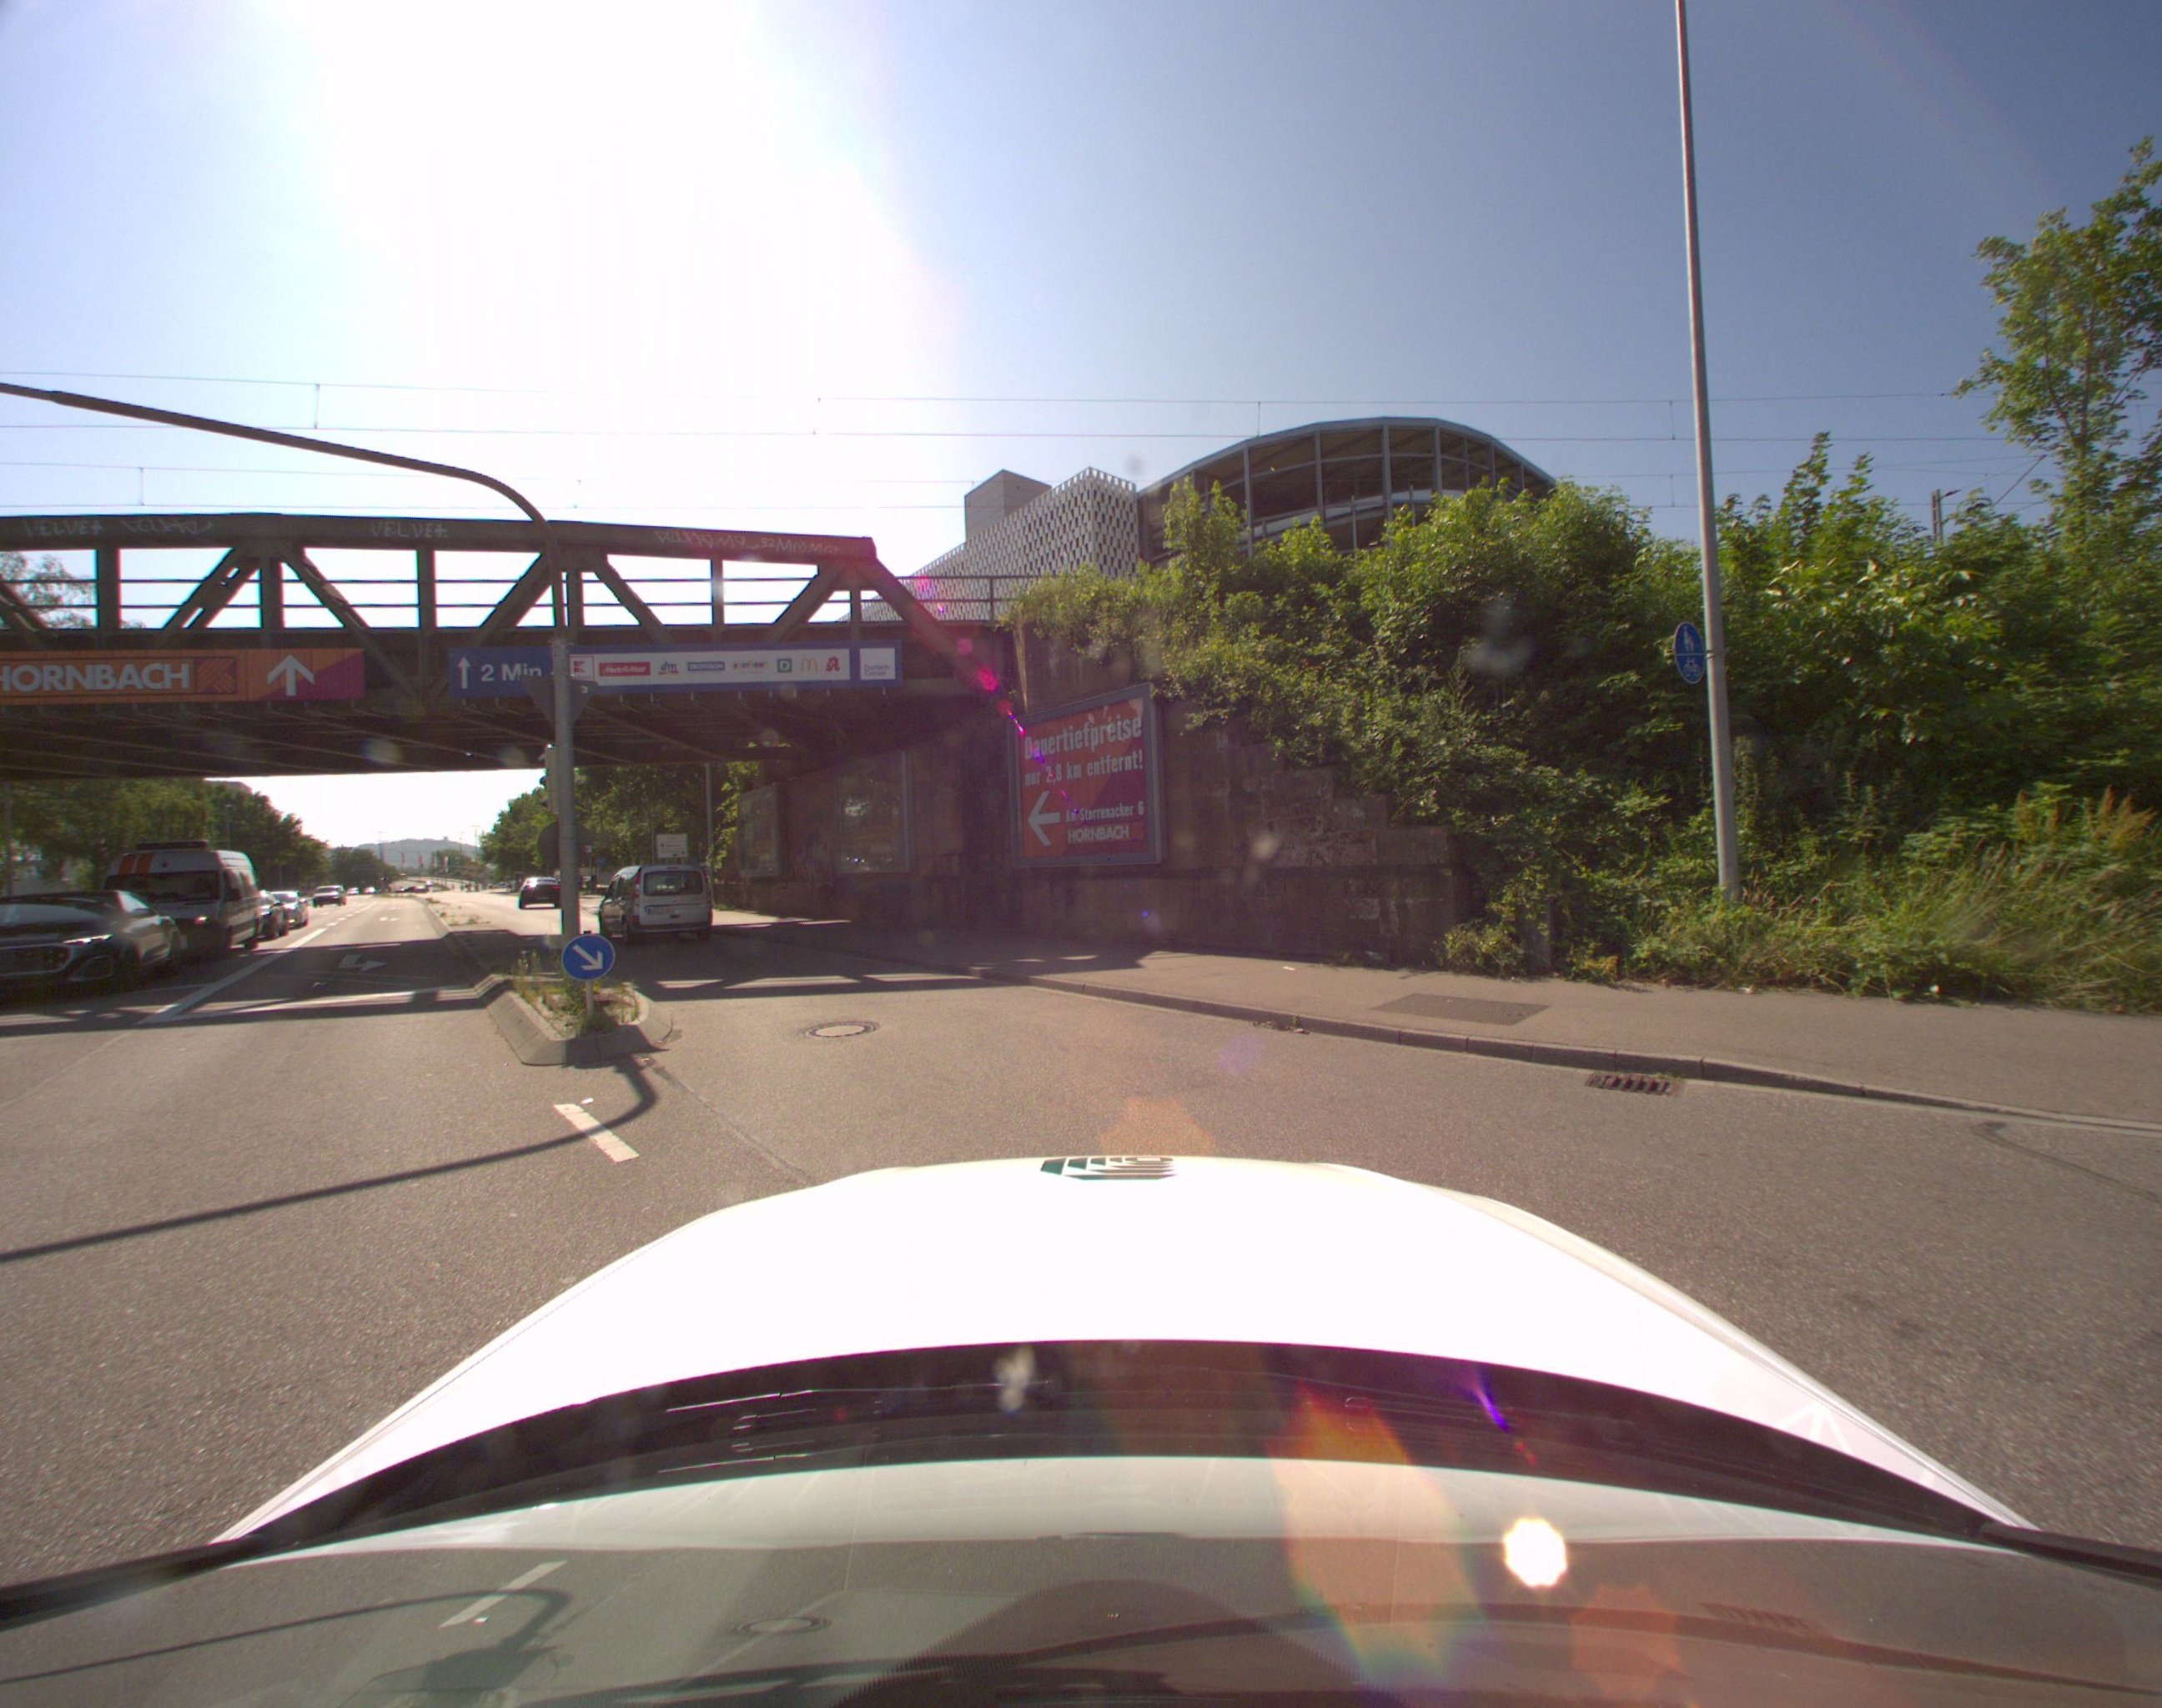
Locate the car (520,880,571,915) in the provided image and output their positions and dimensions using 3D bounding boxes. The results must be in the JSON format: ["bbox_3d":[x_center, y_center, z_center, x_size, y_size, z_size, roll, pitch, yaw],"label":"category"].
[{"bbox_3d":[-28.503,2.284,43.296,1.946,1.662,4.180,-2,-1,-37],"label":"car"}]

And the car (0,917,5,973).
[{"bbox_3d":[-26.742,2.345,18.318,1.900,1.389,4.191,-3,2,-37],"label":"car"}]

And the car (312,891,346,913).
[{"bbox_3d":[-71.194,4.484,77.118,1.900,1.749,3.956,-3,2,-37],"label":"car"}]

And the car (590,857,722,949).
[{"bbox_3d":[-10.073,1.157,19.157,1.802,1.838,3.952,-3,-2,-41],"label":"car"}]

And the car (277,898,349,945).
[{"bbox_3d":[-30.840,2.670,32.798,1.604,1.453,3.956,-3,2,-37],"label":"car"}]

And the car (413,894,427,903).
[{"bbox_3d":[-130.615,8.725,160.981,1.946,1.662,4.180,-2,-1,-37],"label":"car"}]

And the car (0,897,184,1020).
[{"bbox_3d":[-16.357,1.607,13.181,1.915,1.646,3.952,-3,-1,-40],"label":"car"}]

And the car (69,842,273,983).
[{"bbox_3d":[-21.403,1.266,19.502,2.185,2.813,6.128,-2,-1,-38],"label":"car"}]

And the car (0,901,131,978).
[{"bbox_3d":[-29.791,2.409,23.689,1.900,1.749,3.956,-3,2,-37],"label":"car"}]
